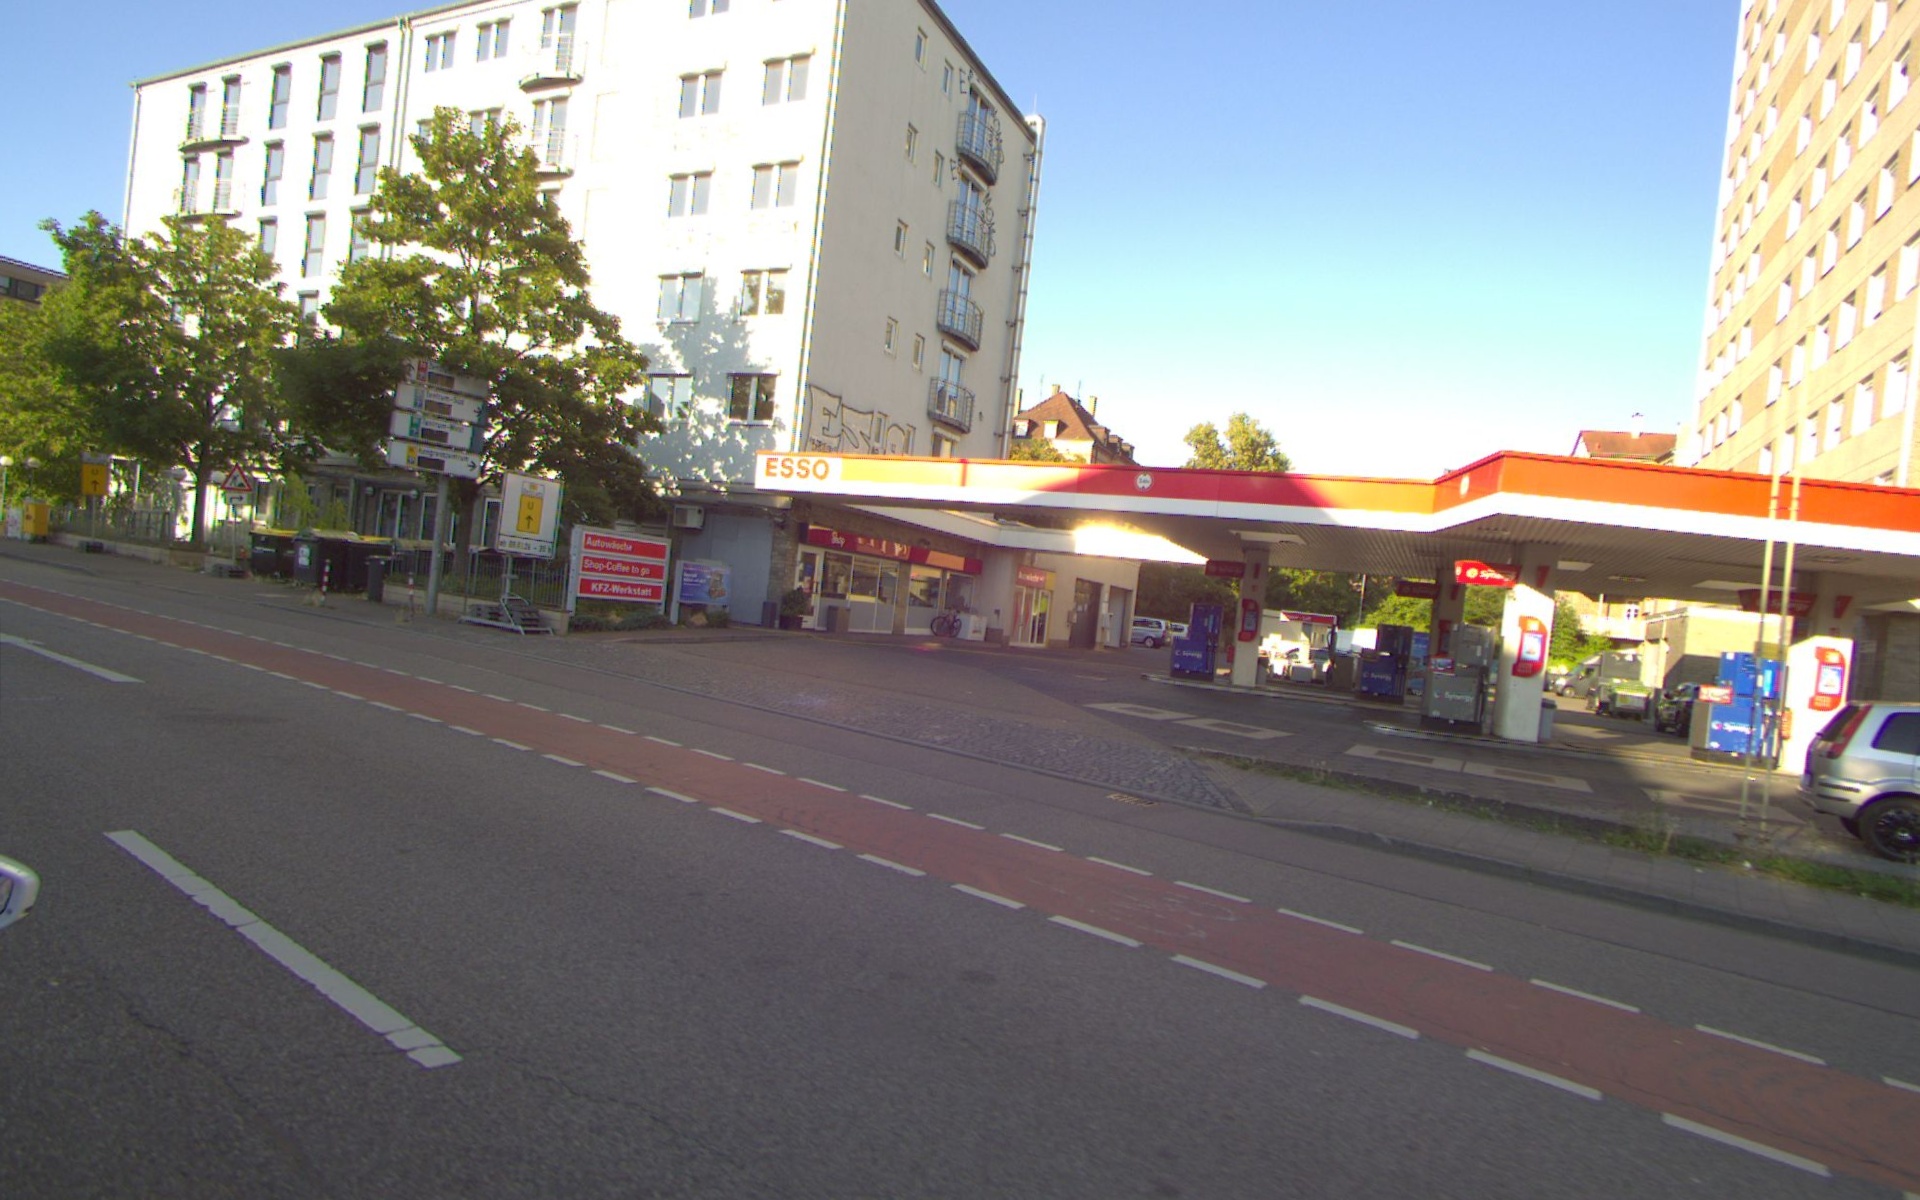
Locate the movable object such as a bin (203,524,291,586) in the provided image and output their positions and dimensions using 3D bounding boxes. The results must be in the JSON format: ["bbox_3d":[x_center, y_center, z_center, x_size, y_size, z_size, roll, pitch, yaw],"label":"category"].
[{"bbox_3d":[-18.925,-1.189,26.705,1.524,1.403,1.461,7,1,39],"label":"movable object such as a bin"}]

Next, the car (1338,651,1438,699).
[{"bbox_3d":[16.908,2.929,39.769,3.379,1.399,1.572,7,1,29],"label":"car"}]

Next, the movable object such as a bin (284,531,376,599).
[{"bbox_3d":[-15.826,-0.869,25.292,1.524,1.472,1.461,7,1,39],"label":"movable object such as a bin"}]

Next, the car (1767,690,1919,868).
[{"bbox_3d":[10.554,1.925,9.524,4.284,1.549,1.772,6,0,35],"label":"car"}]

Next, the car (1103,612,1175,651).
[{"bbox_3d":[11.437,2.021,64.259,3.929,2.039,1.998,7,0,26],"label":"car"}]

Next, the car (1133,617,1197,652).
[{"bbox_3d":[14.531,2.449,71.213,3.929,2.039,1.998,7,0,26],"label":"car"}]

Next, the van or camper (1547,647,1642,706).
[{"bbox_3d":[40.119,4.777,63.737,4.552,3.092,1.998,7,1,25],"label":"van or camper"}]

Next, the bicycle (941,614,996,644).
[{"bbox_3d":[0.305,1.015,35.550,1.781,0.839,0.622,7,1,11],"label":"bicycle"}]
